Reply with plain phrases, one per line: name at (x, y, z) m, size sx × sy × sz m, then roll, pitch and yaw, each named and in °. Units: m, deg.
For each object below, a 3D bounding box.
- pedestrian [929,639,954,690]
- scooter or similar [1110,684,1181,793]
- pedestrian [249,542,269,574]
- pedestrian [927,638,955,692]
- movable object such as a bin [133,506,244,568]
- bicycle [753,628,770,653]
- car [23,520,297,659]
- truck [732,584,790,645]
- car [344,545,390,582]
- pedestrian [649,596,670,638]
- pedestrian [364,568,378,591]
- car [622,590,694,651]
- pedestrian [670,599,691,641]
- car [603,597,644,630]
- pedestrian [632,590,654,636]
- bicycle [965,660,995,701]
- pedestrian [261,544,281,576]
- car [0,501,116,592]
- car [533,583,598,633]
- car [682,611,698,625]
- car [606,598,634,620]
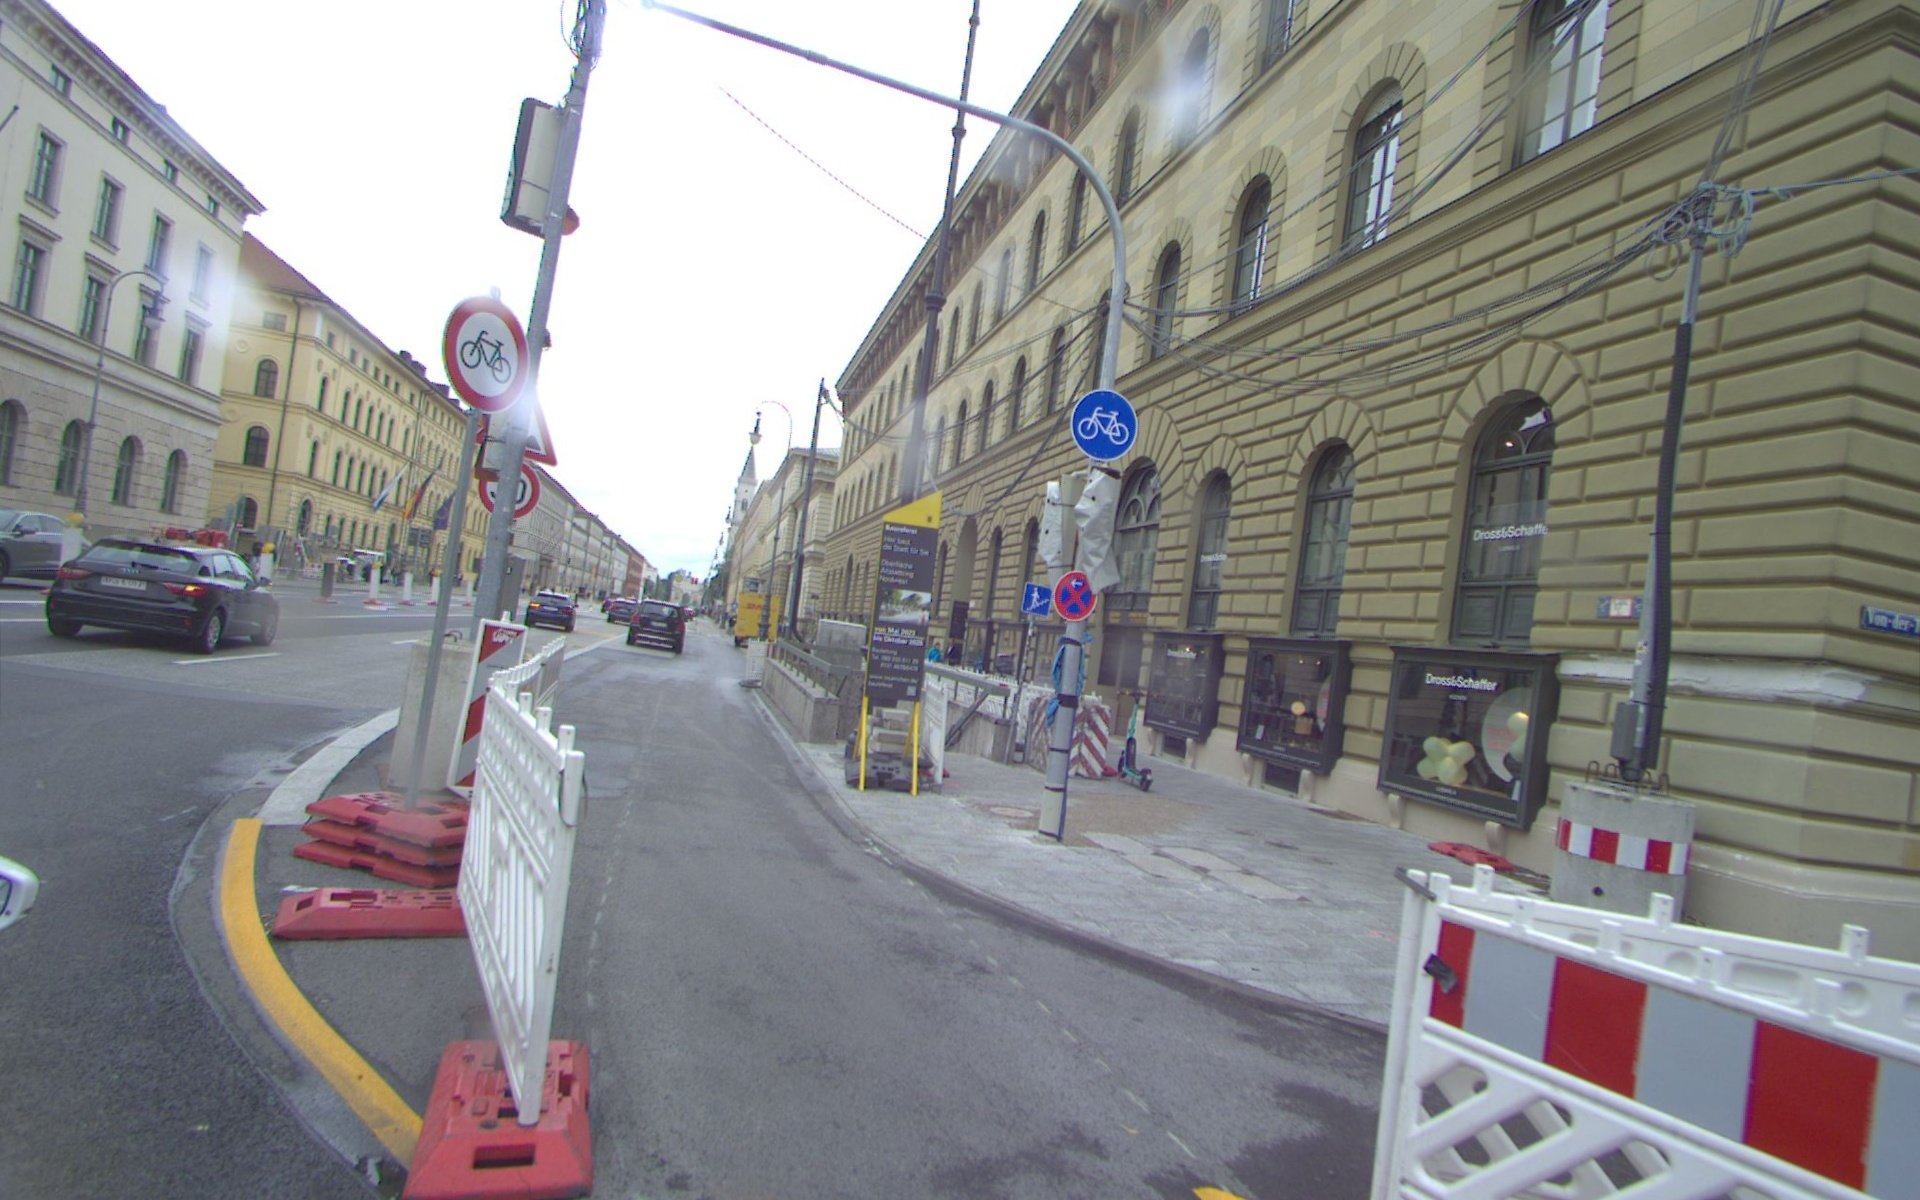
pedestrian at (-0.583, 2.083, 32.333) m, size 0.491 × 1.571 × 0.632 m, roll 7°, pitch -3°, yaw 10°
scooter or similar at (2.389, 1.766, 13.026) m, size 0.345 × 1.263 × 1.139 m, roll 8°, pitch -3°, yaw -12°
pedestrian at (-39.673, -2.384, 56.961) m, size 0.546 × 1.694 × 0.616 m, roll 8°, pitch -3°, yaw -18°
pedestrian at (-0.640, 2.175, 33.648) m, size 0.548 × 1.730 × 0.678 m, roll 7°, pitch -3°, yaw 15°
movable object such as a bin at (-34.756, -2.751, 45.542) m, size 1.493 × 2.035 × 5.966 m, roll 8°, pitch -4°, yaw -14°
bicycle at (-8.777, 1.802, 44.501) m, size 0.511 × 1.033 × 1.650 m, roll 8°, pitch -4°, yaw -8°
car at (-11.038, -0.120, 14.260) m, size 1.846 × 1.403 × 3.981 m, roll 10°, pitch -3°, yaw -23°
truck at (-10.766, 0.871, 54.504) m, size 2.588 × 2.794 × 5.803 m, roll 8°, pitch -4°, yaw -11°
car at (-45.601, -2.780, 77.486) m, size 1.717 × 2.313 × 3.994 m, roll 8°, pitch -4°, yaw -14°
pedestrian at (-12.954, 0.746, 43.369) m, size 0.608 × 1.720 × 0.541 m, roll 8°, pitch -3°, yaw -12°
pedestrian at (-41.719, -1.438, 71.256) m, size 0.546 × 1.546 × 0.616 m, roll 8°, pitch -3°, yaw -18°
car at (-10.510, 0.715, 35.031) m, size 2.046 × 1.679 × 4.210 m, roll 10°, pitch -3°, yaw -17°
pedestrian at (-12.103, 0.873, 43.537) m, size 0.608 × 1.720 × 0.541 m, roll 8°, pitch -3°, yaw -12°
car at (-21.679, 0.893, 64.990) m, size 1.969 × 1.791 × 3.992 m, roll 8°, pitch -3°, yaw -14°
pedestrian at (-13.623, 0.551, 43.239) m, size 0.607 × 1.895 × 0.541 m, roll 8°, pitch -3°, yaw -11°
bicycle at (0.571, 2.324, 29.205) m, size 0.372 × 1.033 × 1.648 m, roll 8°, pitch -2°, yaw -11°
pedestrian at (-39.139, -2.262, 57.148) m, size 0.605 × 1.670 × 0.616 m, roll 8°, pitch -3°, yaw -18°
car at (-18.674, -1.083, 19.409) m, size 1.764 × 1.585 × 4.565 m, roll 6°, pitch -2°, yaw -15°
car at (-15.881, 0.379, 40.676) m, size 1.747 × 1.634 × 3.994 m, roll 9°, pitch -4°, yaw -14°
car at (-38.118, 2.590, 142.064) m, size 1.837 × 1.595 × 3.994 m, roll 9°, pitch -4°, yaw -14°
car at (-31.963, 0.872, 94.550) m, size 1.969 × 1.791 × 3.992 m, roll 8°, pitch -3°, yaw -14°
